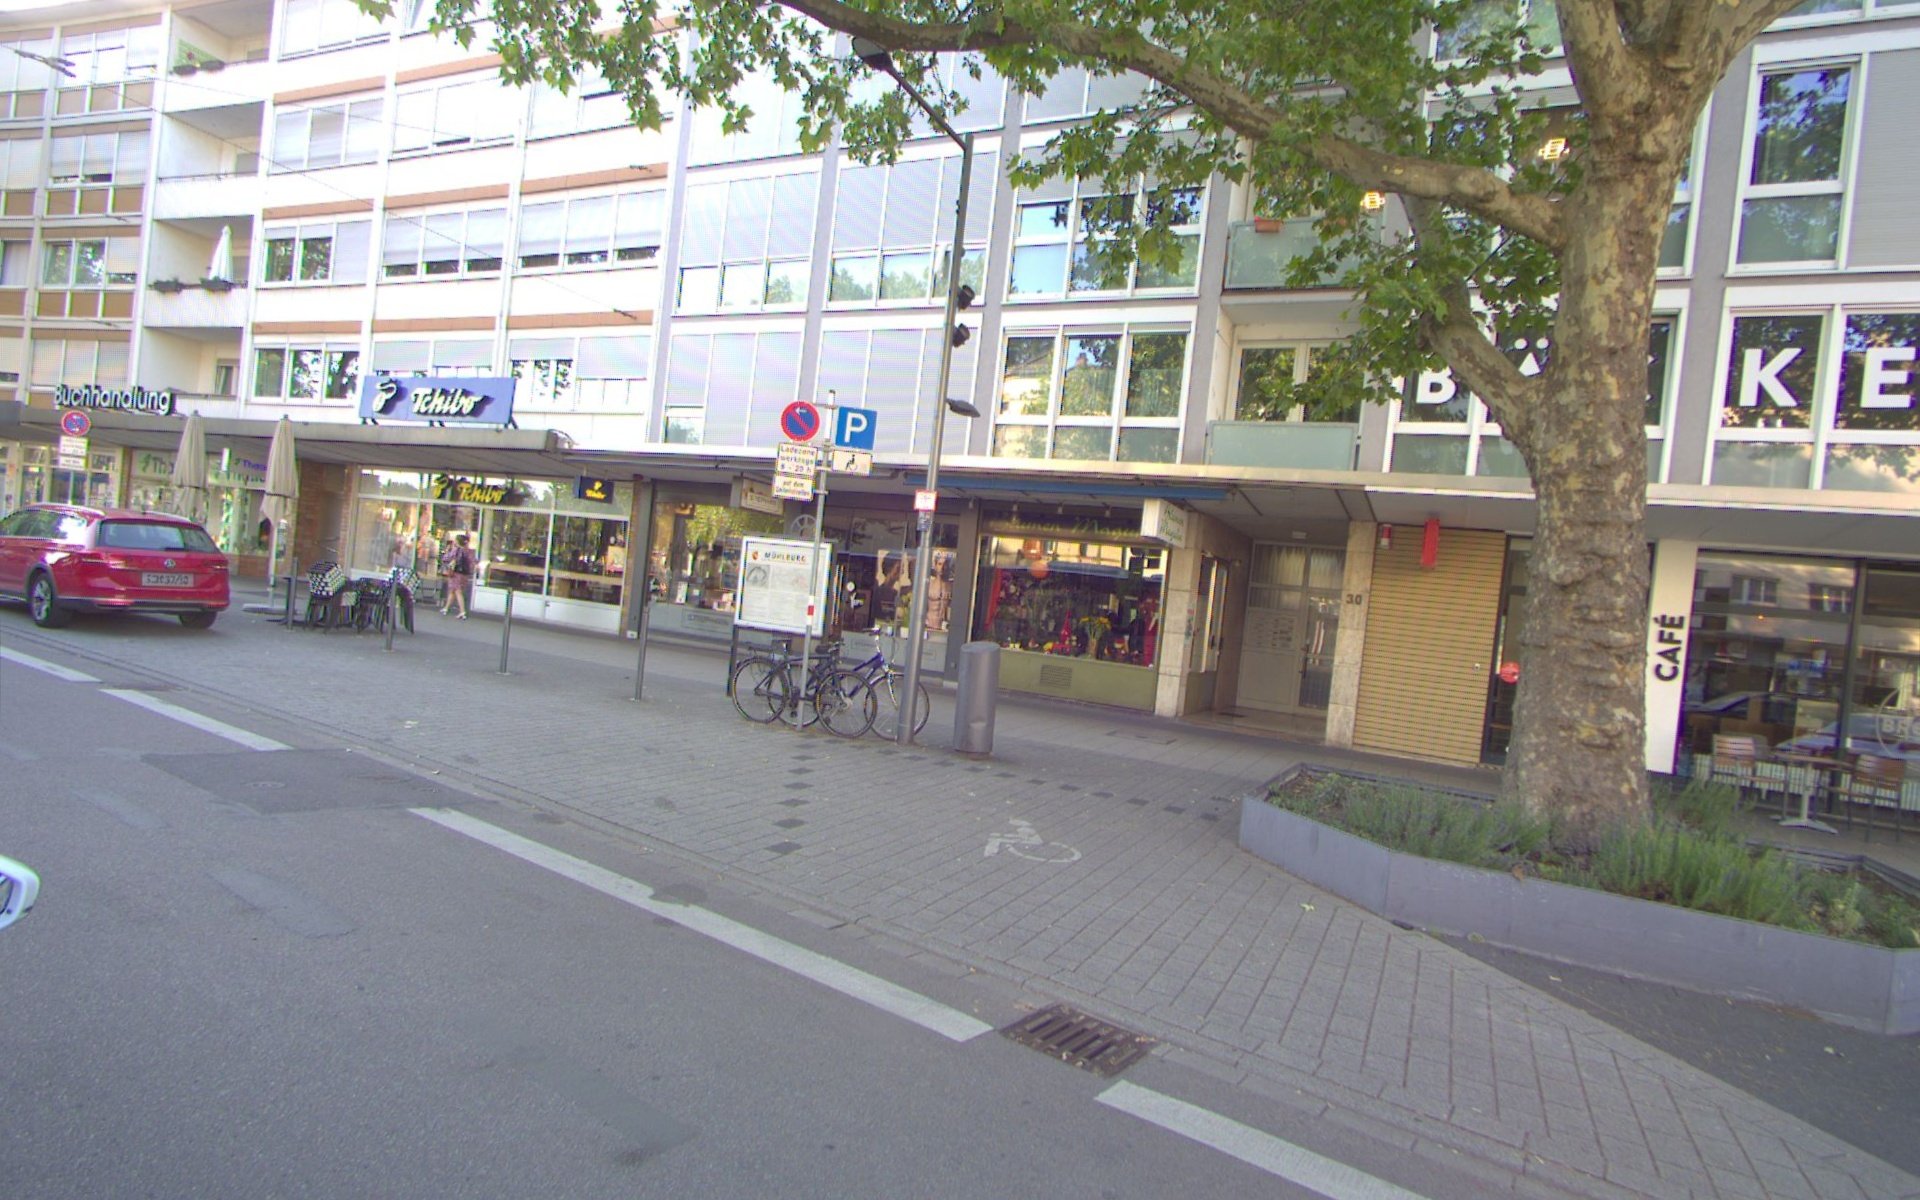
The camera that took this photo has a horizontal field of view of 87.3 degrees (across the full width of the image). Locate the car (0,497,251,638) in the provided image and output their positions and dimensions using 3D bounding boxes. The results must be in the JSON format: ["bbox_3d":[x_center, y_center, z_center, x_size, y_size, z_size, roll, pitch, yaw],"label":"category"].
[{"bbox_3d":[-11.645,-0.493,13.457,4.229,1.502,1.772,6,1,28],"label":"car"}]

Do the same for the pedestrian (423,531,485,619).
[{"bbox_3d":[-9.834,-0.480,19.556,0.776,1.613,0.651,7,3,26],"label":"pedestrian"}]

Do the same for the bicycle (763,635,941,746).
[{"bbox_3d":[-1.137,0.931,10.560,1.743,0.931,0.391,6,2,12],"label":"bicycle"}]

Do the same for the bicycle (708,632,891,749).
[{"bbox_3d":[-1.638,0.898,10.238,1.743,0.951,0.391,6,2,12],"label":"bicycle"}]
